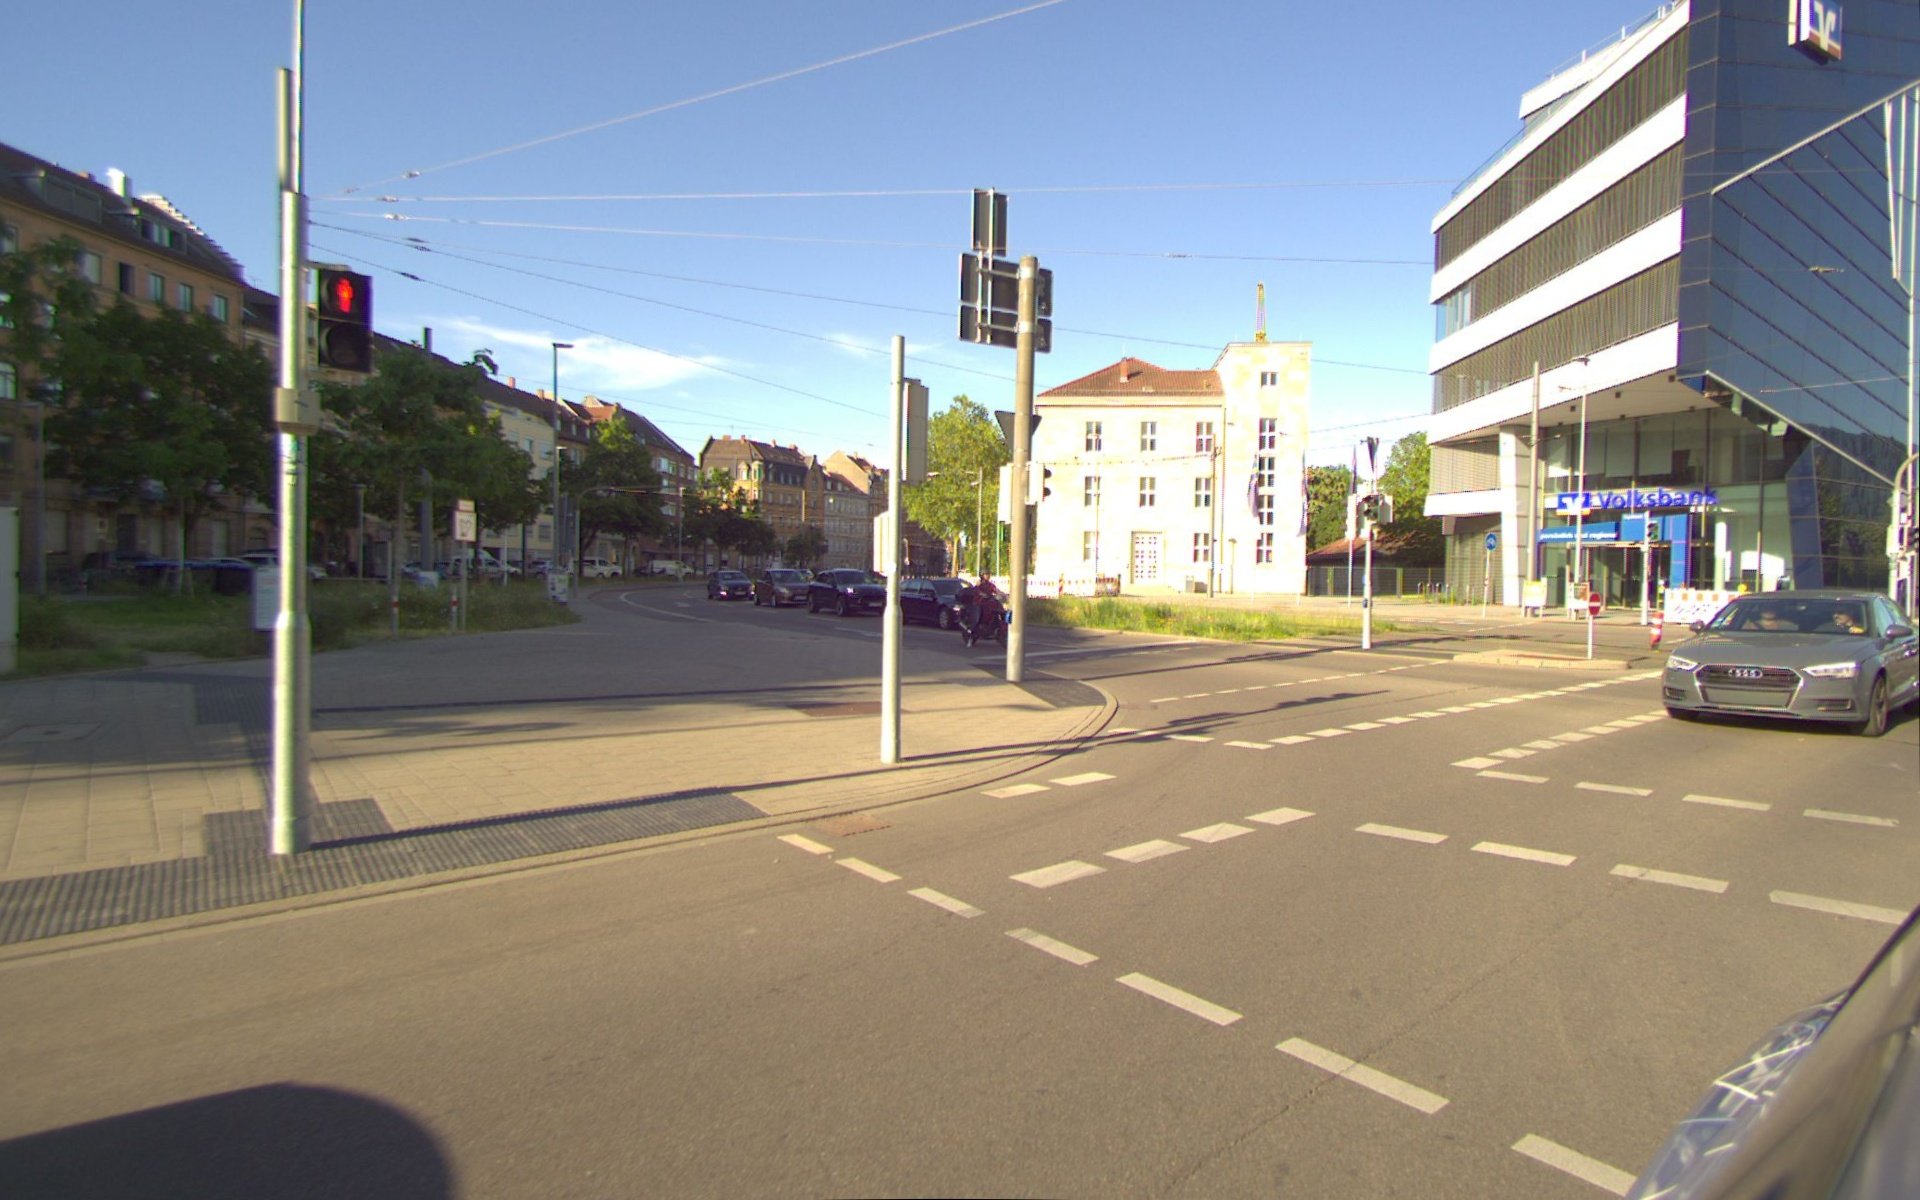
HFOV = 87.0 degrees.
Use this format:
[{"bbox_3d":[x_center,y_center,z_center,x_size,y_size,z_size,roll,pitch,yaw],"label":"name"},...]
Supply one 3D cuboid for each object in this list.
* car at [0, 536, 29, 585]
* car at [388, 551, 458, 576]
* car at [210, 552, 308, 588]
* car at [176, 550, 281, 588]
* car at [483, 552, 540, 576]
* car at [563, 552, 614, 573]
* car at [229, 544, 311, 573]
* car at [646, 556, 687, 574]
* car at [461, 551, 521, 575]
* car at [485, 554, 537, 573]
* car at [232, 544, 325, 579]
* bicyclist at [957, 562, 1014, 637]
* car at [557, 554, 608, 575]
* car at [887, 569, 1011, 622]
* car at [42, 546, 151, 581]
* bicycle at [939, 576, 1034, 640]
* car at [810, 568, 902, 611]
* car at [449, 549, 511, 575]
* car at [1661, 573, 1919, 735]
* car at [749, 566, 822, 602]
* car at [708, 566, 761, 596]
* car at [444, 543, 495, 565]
[{"bbox_3d":[-44.374,-1.764,44.685,1.967,2.239,4.584,1,2,8],"label":"car"},{"bbox_3d":[-34.603,-2.340,65.308,3.918,1.504,2.004,0,2,-26],"label":"car"},{"bbox_3d":[-34.799,-1.479,50.331,3.924,1.738,2.001,-1,2,-35],"label":"car"},{"bbox_3d":[-34.297,-1.450,47.558,3.924,1.738,2.001,-1,2,-35],"label":"car"},{"bbox_3d":[-34.288,-2.764,77.306,3.918,1.738,2.004,0,2,-26],"label":"car"},{"bbox_3d":[-32.888,-3.326,89.633,4.172,1.738,2.005,0,2,-18],"label":"car"},{"bbox_3d":[-43.100,-2.579,63.326,1.965,1.738,4.256,1,2,6],"label":"car"},{"bbox_3d":[-31.079,-3.717,107.228,3.917,1.838,2.004,0,2,-25],"label":"car"},{"bbox_3d":[-34.467,-2.711,74.353,3.918,1.738,2.004,0,2,-26],"label":"car"},{"bbox_3d":[-41.804,-3.405,94.251,4.179,1.738,2.001,0,2,-33],"label":"car"},{"bbox_3d":[-35.453,-1.997,52.717,3.924,1.738,2.001,-1,2,-35],"label":"car"},{"bbox_3d":[0.565,-0.022,22.716,0.863,1.627,1.008,0,2,-34],"label":"bicyclist"},{"bbox_3d":[-32.422,-3.040,86.847,3.918,1.738,2.004,0,2,-26],"label":"car"},{"bbox_3d":[-0.418,-0.188,30.020,1.959,1.439,4.302,0,2,-27],"label":"car"},{"bbox_3d":[-44.555,-1.900,52.262,4.188,1.738,1.997,1,2,7],"label":"car"},{"bbox_3d":[0.560,0.140,22.698,0.933,1.328,2.373,0,2,-34],"label":"bicycle"},{"bbox_3d":[-3.801,-0.415,36.352,1.959,1.439,4.007,0,2,-27],"label":"car"},{"bbox_3d":[-33.869,-2.654,71.421,3.918,1.738,2.004,0,2,-26],"label":"car"},{"bbox_3d":[9.467,0.450,11.168,4.036,1.459,1.715,-1,2,-38],"label":"car"},{"bbox_3d":[-7.418,-0.716,42.726,1.959,1.439,4.007,0,2,-27],"label":"car"},{"bbox_3d":[-11.369,-0.989,50.780,1.958,1.439,4.536,0,2,-20],"label":"car"},{"bbox_3d":[-41.427,-3.849,85.556,1.965,1.738,4.256,1,2,6],"label":"car"}]
